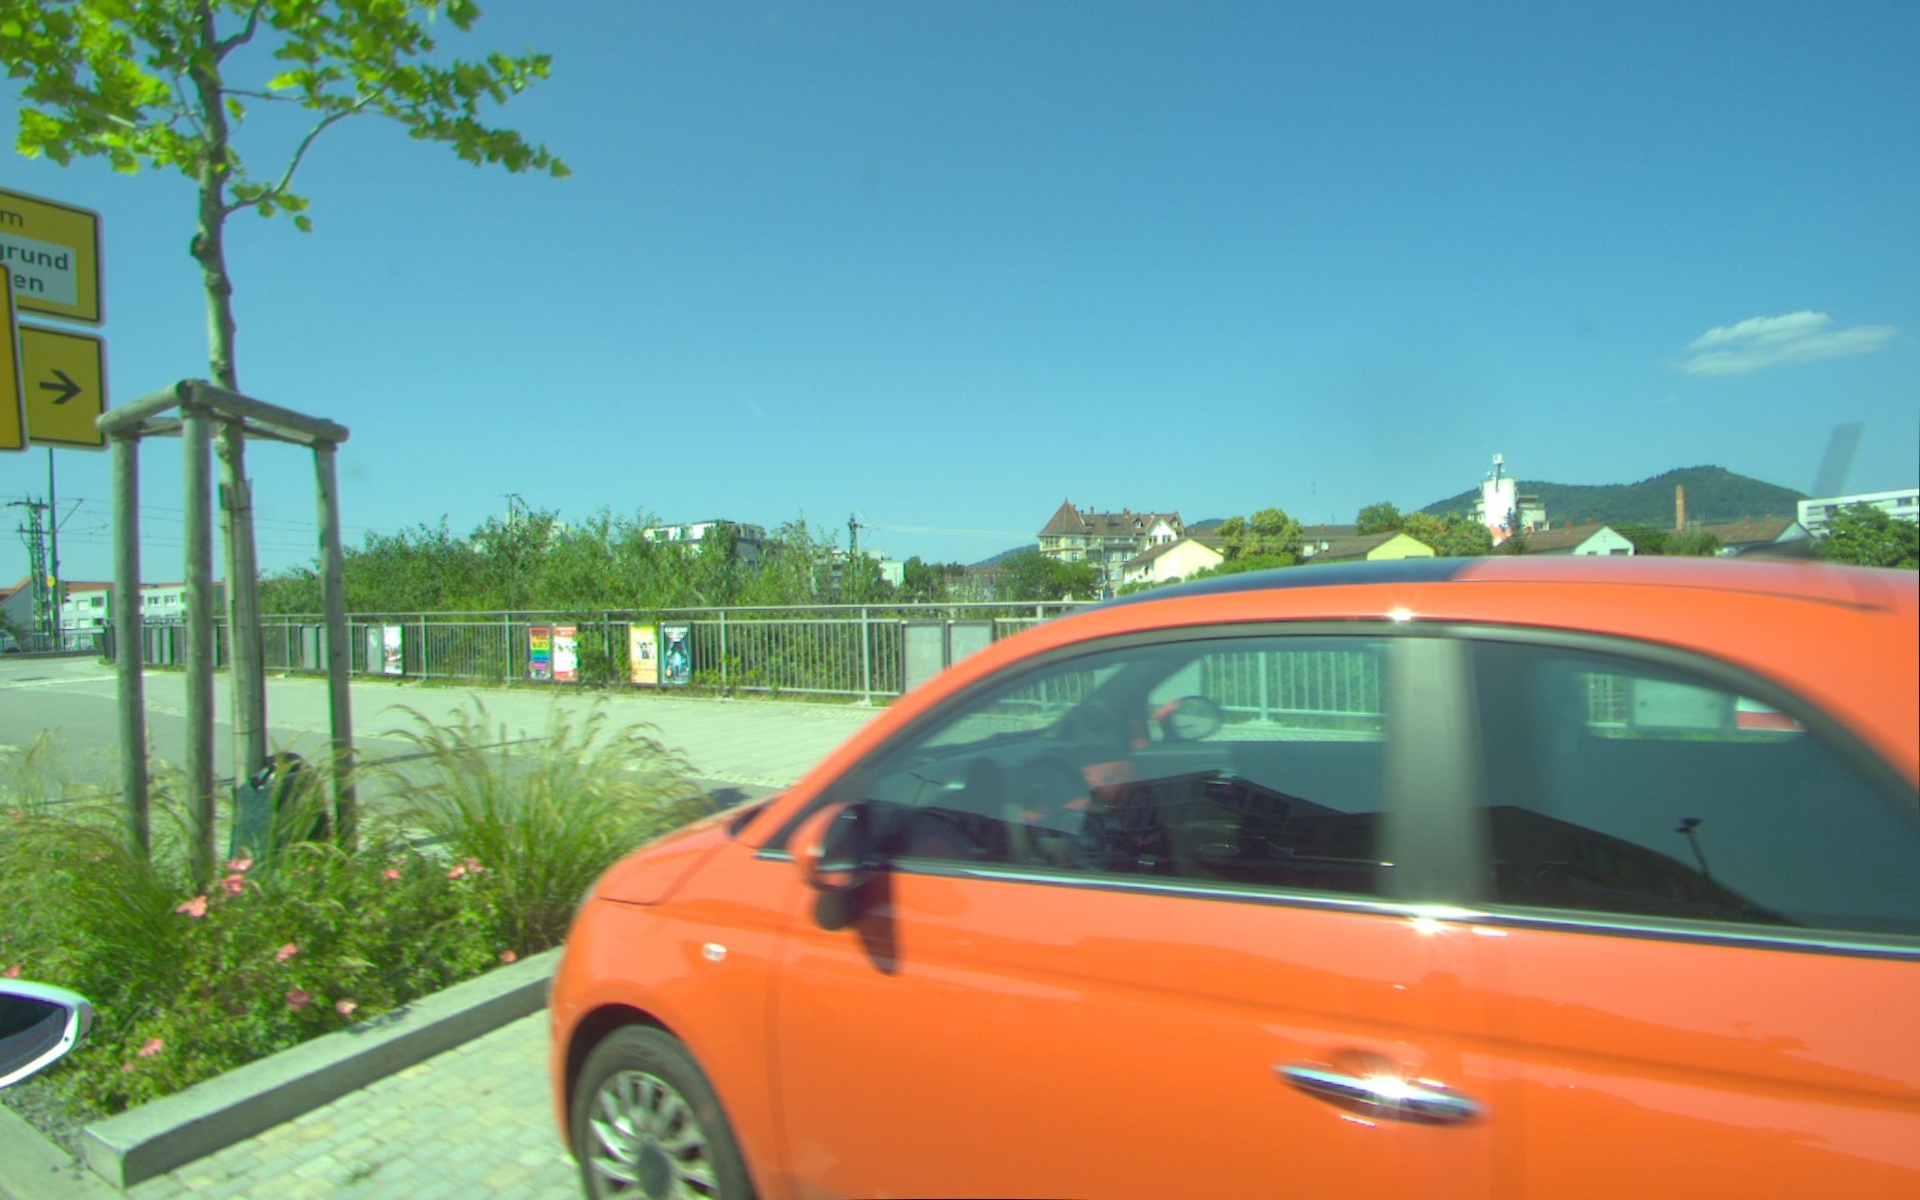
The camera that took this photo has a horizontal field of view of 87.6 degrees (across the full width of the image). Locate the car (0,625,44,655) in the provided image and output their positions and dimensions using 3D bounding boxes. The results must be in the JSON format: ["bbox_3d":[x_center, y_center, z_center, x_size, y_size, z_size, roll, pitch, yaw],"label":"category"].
[{"bbox_3d":[-48.071,1.992,49.626,1.660,1.505,3.632,-1,-2,17],"label":"car"}]

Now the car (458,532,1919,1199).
[{"bbox_3d":[0.633,0.687,2.128,3.307,1.517,1.605,-1,1,34],"label":"car"}]
